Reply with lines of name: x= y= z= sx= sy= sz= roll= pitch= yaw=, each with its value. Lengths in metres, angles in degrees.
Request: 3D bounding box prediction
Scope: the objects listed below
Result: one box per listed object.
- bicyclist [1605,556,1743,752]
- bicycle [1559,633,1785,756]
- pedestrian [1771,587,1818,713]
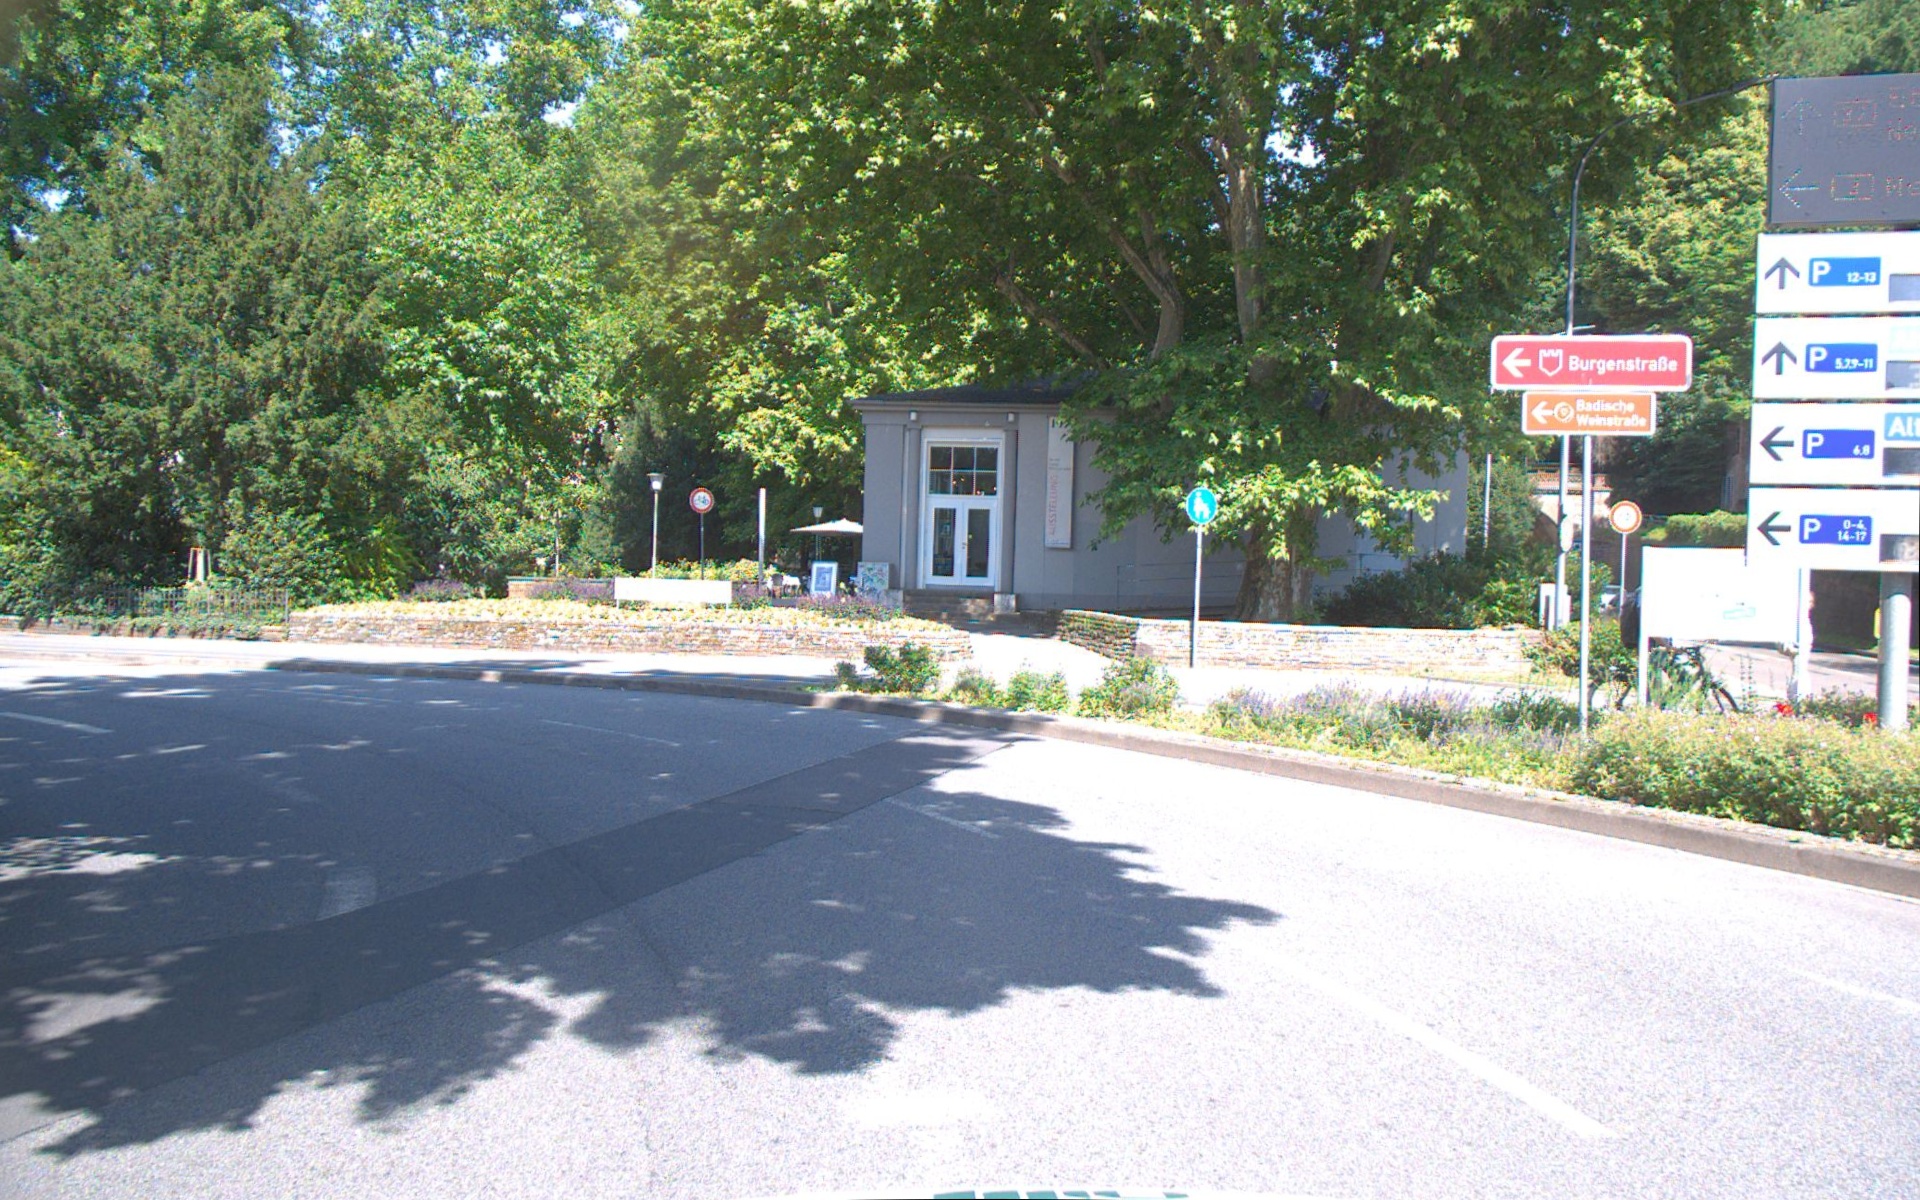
bicyclist: x=7.489 y=0.542 z=17.358 sx=1.110 sy=1.966 sz=0.744 roll=2 pitch=0 yaw=42
bicycle: x=7.456 y=0.953 z=17.384 sx=2.046 sy=1.132 sz=0.752 roll=2 pitch=1 yaw=42
pedestrian: x=11.154 y=0.649 z=22.119 sx=0.536 sy=1.649 sz=0.633 roll=1 pitch=1 yaw=26
